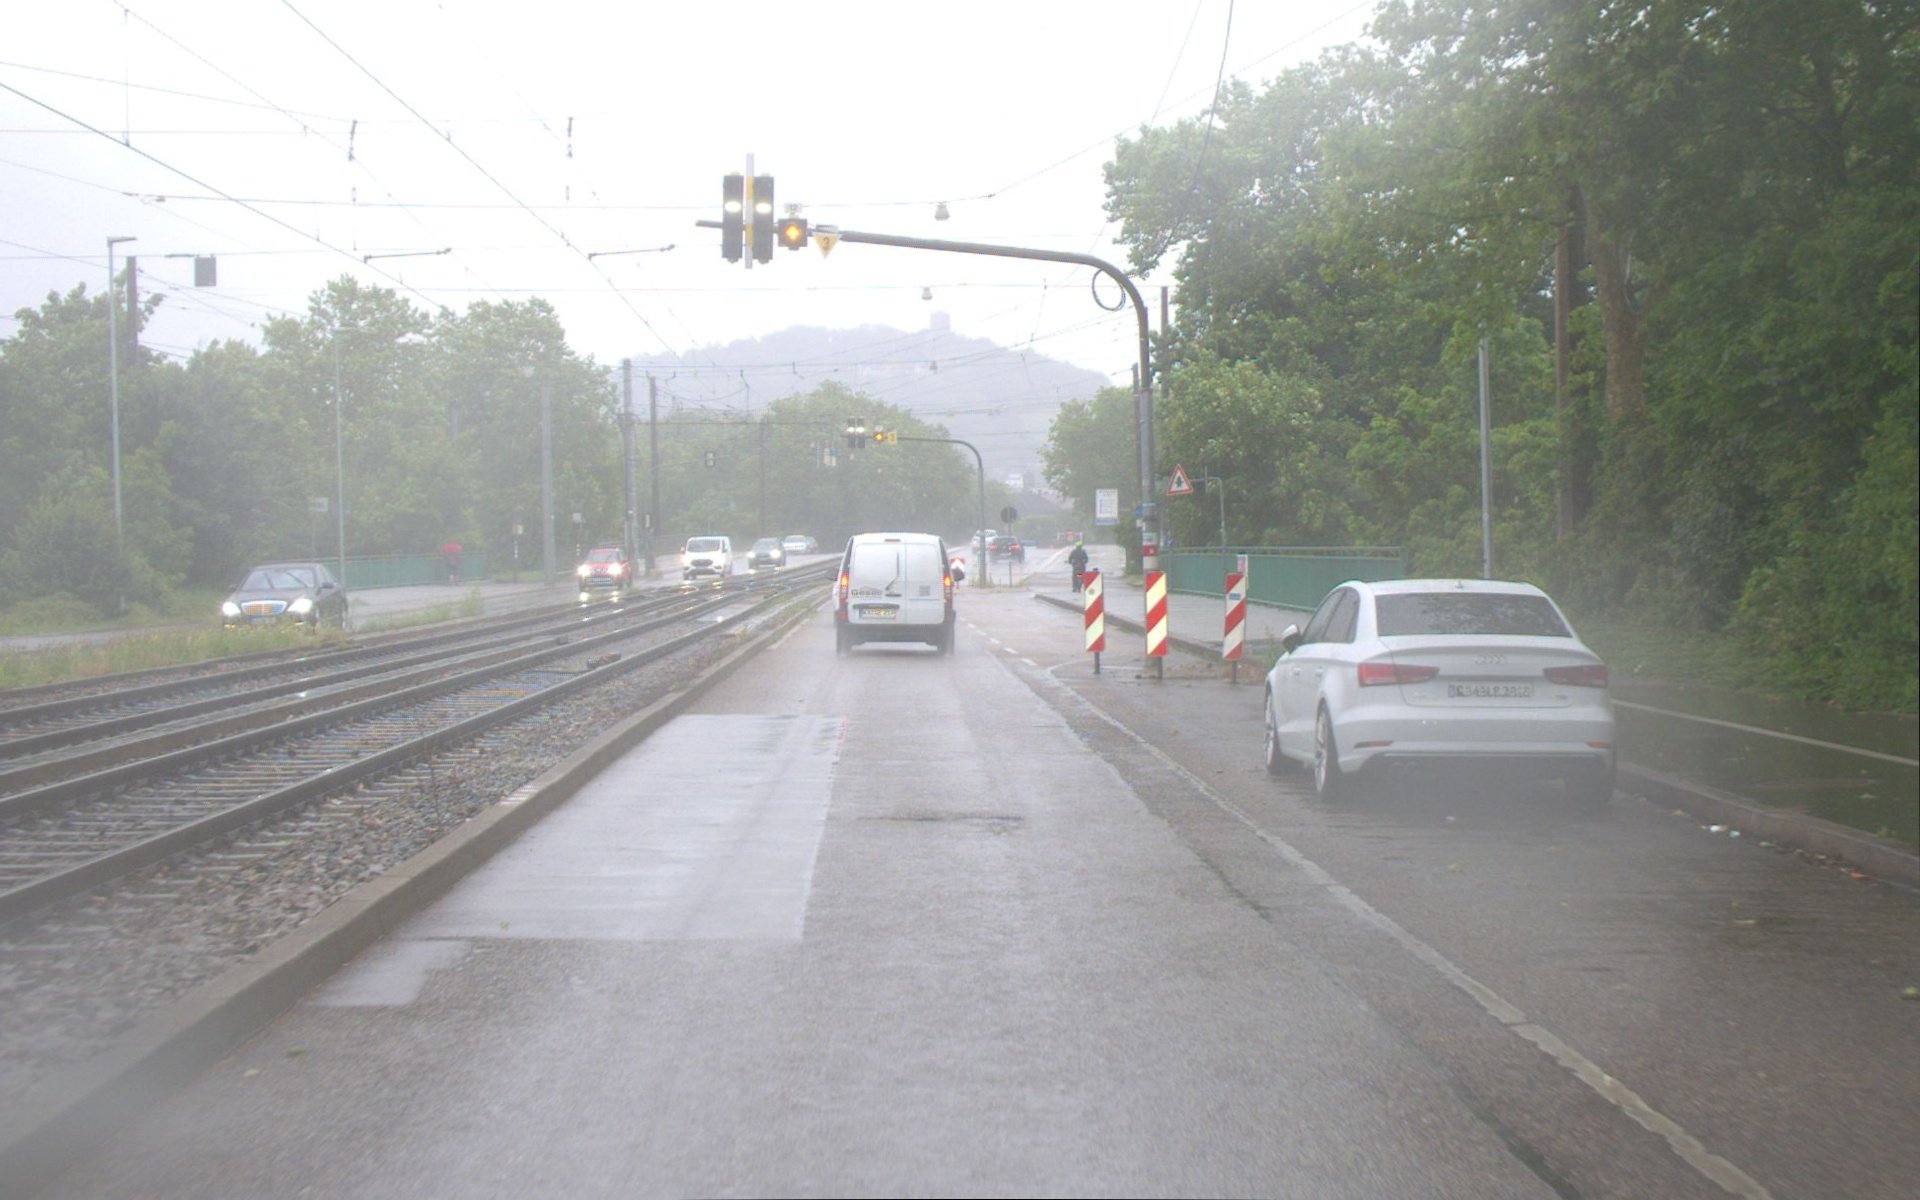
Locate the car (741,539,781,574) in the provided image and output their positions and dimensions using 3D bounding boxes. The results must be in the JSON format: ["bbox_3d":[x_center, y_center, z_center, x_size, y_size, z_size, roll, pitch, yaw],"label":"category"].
[{"bbox_3d":[-11.051,-2.415,191.303,1.993,1.941,4.000,0,0,0],"label":"car"}]

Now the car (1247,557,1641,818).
[{"bbox_3d":[3.031,0.488,22.439,1.819,1.481,4.481,1,1,-1],"label":"car"}]

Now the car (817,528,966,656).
[{"bbox_3d":[-0.983,-0.140,51.616,1.994,1.842,4.000,0,1,2],"label":"car"}]

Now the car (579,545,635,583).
[{"bbox_3d":[-13.498,-1.405,131.594,1.819,1.393,4.000,-1,1,-1],"label":"car"}]

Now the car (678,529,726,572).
[{"bbox_3d":[-12.341,-2.356,164.760,1.993,2.007,4.000,0,0,0],"label":"car"}]

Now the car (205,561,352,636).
[{"bbox_3d":[-13.726,-0.060,69.537,1.993,1.399,5.386,-1,1,-1],"label":"car"}]
